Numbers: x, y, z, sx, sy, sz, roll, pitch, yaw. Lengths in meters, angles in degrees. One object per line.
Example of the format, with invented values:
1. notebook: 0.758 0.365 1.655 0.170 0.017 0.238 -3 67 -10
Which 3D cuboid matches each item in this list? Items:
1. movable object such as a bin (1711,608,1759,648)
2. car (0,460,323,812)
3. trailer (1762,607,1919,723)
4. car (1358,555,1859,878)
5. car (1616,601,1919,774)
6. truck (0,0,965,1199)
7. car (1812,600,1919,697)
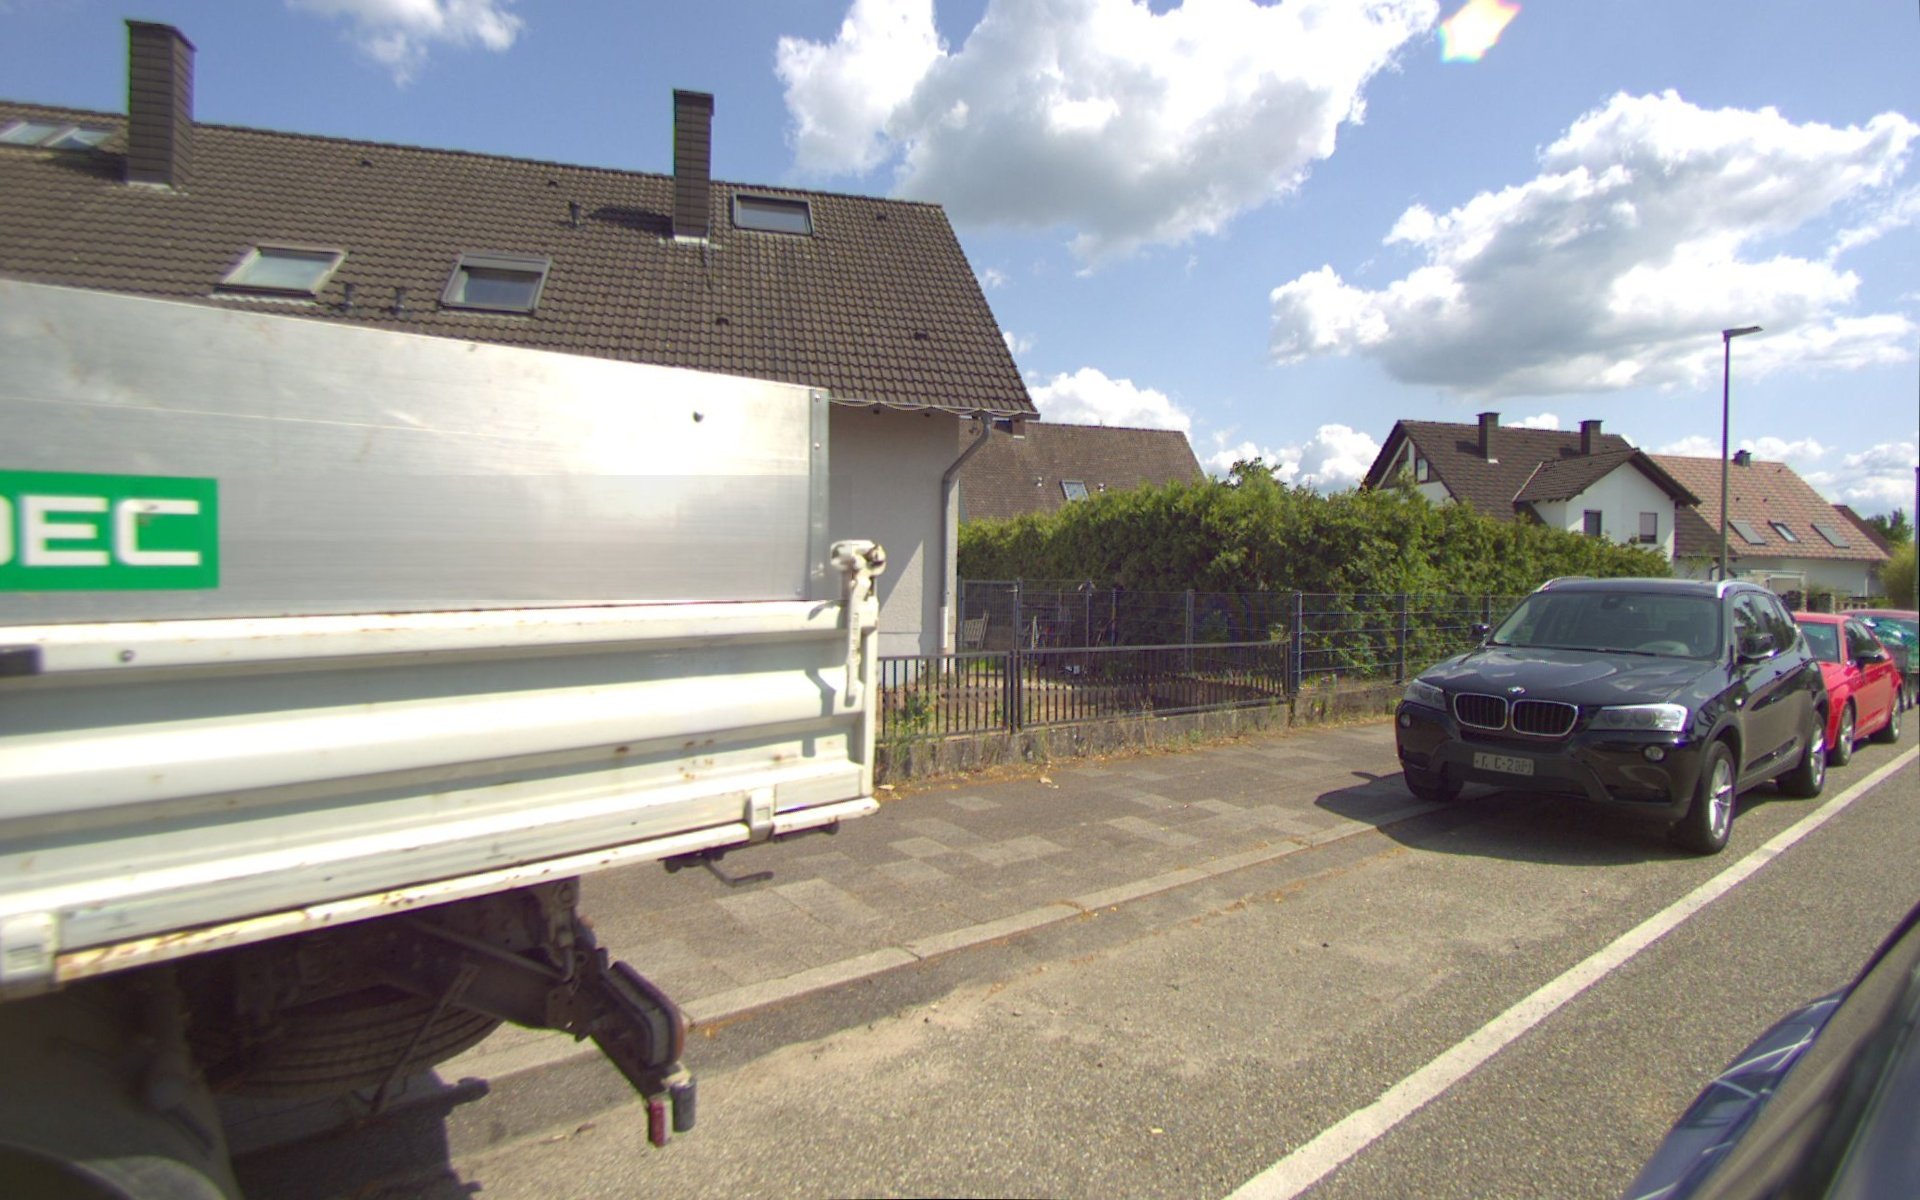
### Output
1. movable object such as a bin: 21.570 0.771 28.164 0.751 1.071 0.779 1 0 -23
2. car: -6.485 0.169 5.407 1.858 1.889 4.939 2 1 45
3. trailer: 13.004 0.813 14.540 4.356 1.395 1.610 0 0 -42
4. car: 4.934 0.598 7.420 4.472 1.683 1.834 0 1 -40
5. car: 8.563 0.749 10.596 4.071 1.453 1.688 0 0 -39
6. truck: -3.059 0.191 1.125 5.790 2.327 2.529 0 4 -40
7. car: 16.354 0.762 17.618 4.674 1.481 1.694 0 0 -42
